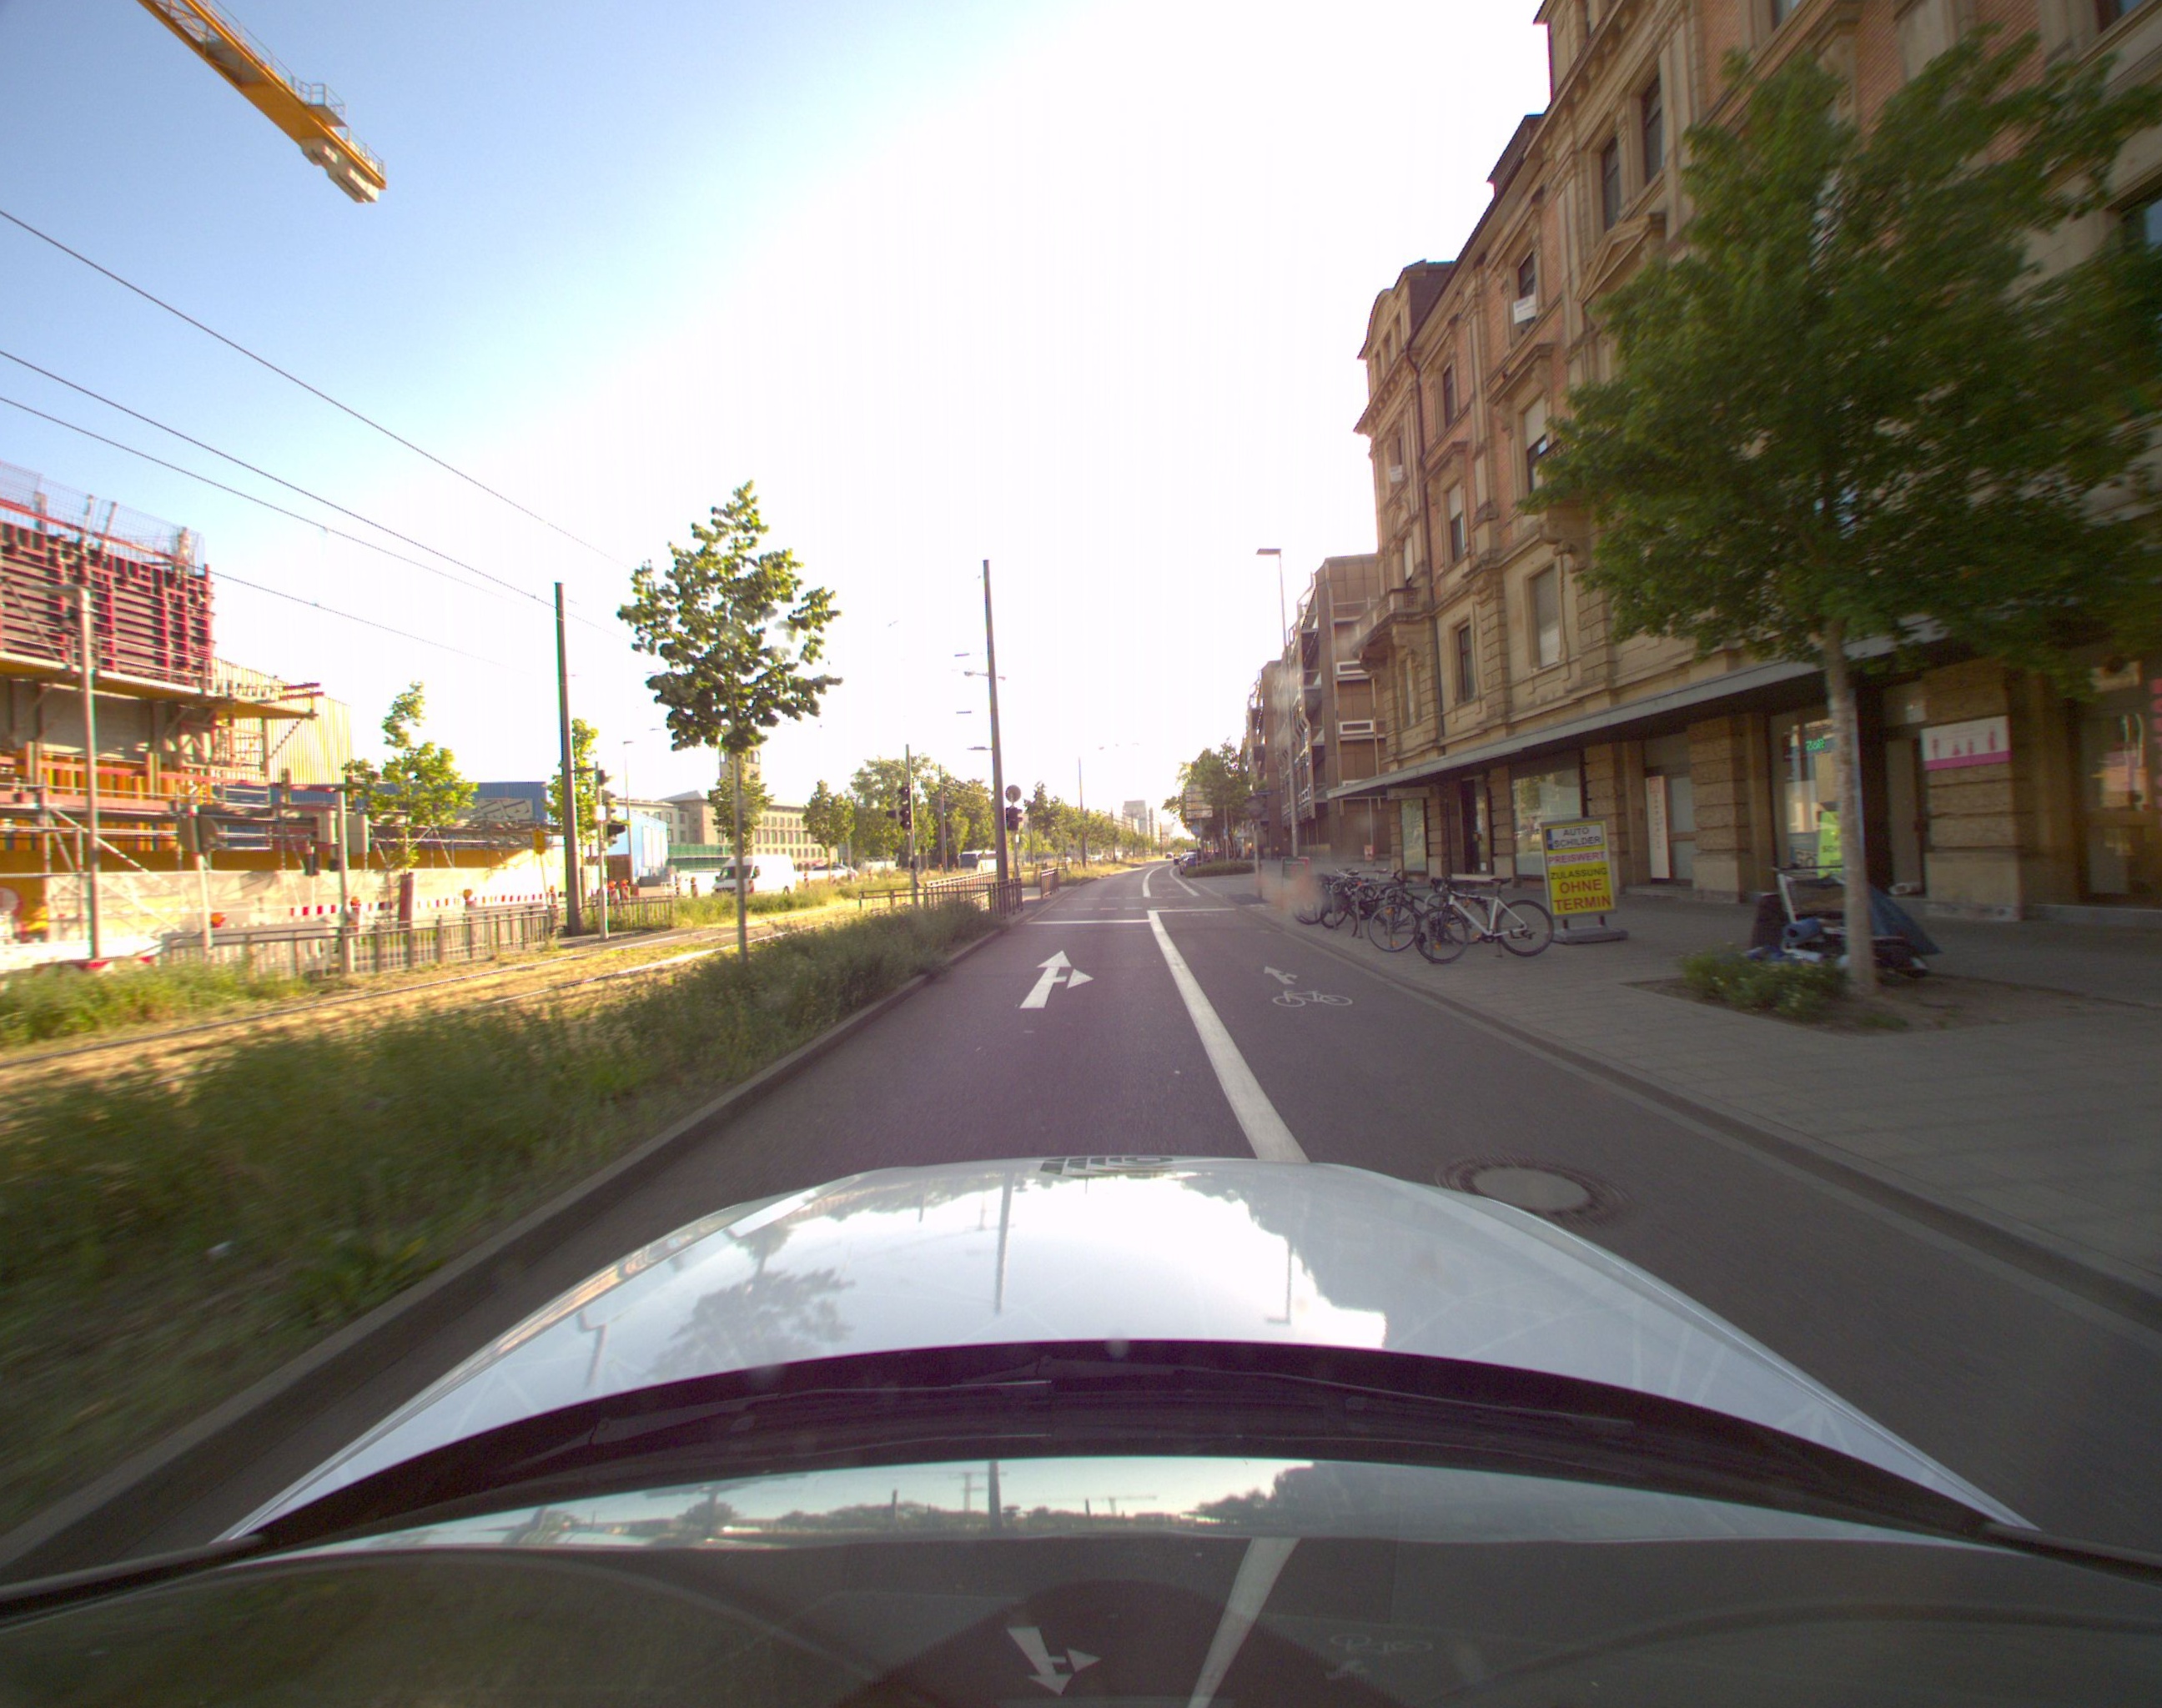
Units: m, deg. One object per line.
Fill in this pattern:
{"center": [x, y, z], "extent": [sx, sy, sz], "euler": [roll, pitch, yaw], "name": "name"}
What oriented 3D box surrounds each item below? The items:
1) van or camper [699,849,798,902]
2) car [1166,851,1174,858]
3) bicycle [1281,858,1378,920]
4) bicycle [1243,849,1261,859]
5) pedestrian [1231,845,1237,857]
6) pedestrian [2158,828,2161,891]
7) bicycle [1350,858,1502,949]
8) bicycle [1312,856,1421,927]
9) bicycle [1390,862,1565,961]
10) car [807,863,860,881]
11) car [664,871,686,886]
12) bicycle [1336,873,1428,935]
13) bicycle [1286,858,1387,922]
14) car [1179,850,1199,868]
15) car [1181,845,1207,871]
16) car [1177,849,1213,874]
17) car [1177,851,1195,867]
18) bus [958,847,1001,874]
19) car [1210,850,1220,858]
{"center": [-18.208, 1.087, 45.094], "extent": [2.214, 2.510, 7.202], "euler": [-5, 0, 1], "name": "van or camper"}
{"center": [21.703, 0.110, 199.380], "extent": [1.766, 1.428, 4.010], "euler": [-2, 0, 8], "name": "car"}
{"center": [5.049, 0.710, 16.601], "extent": [1.745, 1.104, 0.508], "euler": [-5, -1, 6], "name": "bicycle"}
{"center": [19.968, 0.023, 95.164], "extent": [1.892, 1.093, 0.392], "euler": [-4, -1, 2], "name": "bicycle"}
{"center": [22.035, -0.415, 117.264], "extent": [0.785, 1.648, 1.139], "euler": [-4, -1, 8], "name": "pedestrian"}
{"center": [10.405, 0.220, 7.139], "extent": [0.810, 0.962, 0.804], "euler": [-3, 0, 2], "name": "pedestrian"}
{"center": [4.891, 0.693, 11.633], "extent": [1.835, 1.104, 0.567], "euler": [-5, -1, 6], "name": "bicycle"}
{"center": [5.138, 0.671, 14.726], "extent": [1.713, 1.104, 0.508], "euler": [-5, -1, 6], "name": "bicycle"}
{"center": [4.889, 0.705, 10.121], "extent": [1.795, 1.047, 0.567], "euler": [-5, -1, 6], "name": "bicycle"}
{"center": [-27.552, 1.968, 90.682], "extent": [5.199, 1.717, 2.129], "euler": [-3, 0, 6], "name": "car"}
{"center": [-45.584, 2.740, 91.498], "extent": [1.411, 1.636, 4.200], "euler": [-2, 0, -17], "name": "car"}
{"center": [4.895, 0.811, 13.284], "extent": [1.268, 0.877, 0.508], "euler": [-5, -1, 6], "name": "bicycle"}
{"center": [5.009, 0.701, 16.011], "extent": [1.745, 1.104, 0.508], "euler": [-5, -1, 6], "name": "bicycle"}
{"center": [10.027, 0.471, 75.125], "extent": [1.654, 1.490, 4.214], "euler": [-5, 0, 8], "name": "car"}
{"center": [9.011, 0.306, 65.290], "extent": [1.726, 1.919, 4.400], "euler": [-5, 0, 5], "name": "car"}
{"center": [8.049, 0.518, 57.690], "extent": [1.924, 1.598, 4.701], "euler": [-5, 0, 2], "name": "car"}
{"center": [11.152, 0.507, 86.197], "extent": [1.784, 1.449, 4.386], "euler": [-5, 0, 8], "name": "car"}
{"center": [-14.605, 0.839, 118.728], "extent": [2.783, 3.595, 12.728], "euler": [-2, 0, 8], "name": "bus"}
{"center": [26.035, 0.047, 158.052], "extent": [1.695, 1.418, 4.289], "euler": [-5, -1, 11], "name": "car"}
